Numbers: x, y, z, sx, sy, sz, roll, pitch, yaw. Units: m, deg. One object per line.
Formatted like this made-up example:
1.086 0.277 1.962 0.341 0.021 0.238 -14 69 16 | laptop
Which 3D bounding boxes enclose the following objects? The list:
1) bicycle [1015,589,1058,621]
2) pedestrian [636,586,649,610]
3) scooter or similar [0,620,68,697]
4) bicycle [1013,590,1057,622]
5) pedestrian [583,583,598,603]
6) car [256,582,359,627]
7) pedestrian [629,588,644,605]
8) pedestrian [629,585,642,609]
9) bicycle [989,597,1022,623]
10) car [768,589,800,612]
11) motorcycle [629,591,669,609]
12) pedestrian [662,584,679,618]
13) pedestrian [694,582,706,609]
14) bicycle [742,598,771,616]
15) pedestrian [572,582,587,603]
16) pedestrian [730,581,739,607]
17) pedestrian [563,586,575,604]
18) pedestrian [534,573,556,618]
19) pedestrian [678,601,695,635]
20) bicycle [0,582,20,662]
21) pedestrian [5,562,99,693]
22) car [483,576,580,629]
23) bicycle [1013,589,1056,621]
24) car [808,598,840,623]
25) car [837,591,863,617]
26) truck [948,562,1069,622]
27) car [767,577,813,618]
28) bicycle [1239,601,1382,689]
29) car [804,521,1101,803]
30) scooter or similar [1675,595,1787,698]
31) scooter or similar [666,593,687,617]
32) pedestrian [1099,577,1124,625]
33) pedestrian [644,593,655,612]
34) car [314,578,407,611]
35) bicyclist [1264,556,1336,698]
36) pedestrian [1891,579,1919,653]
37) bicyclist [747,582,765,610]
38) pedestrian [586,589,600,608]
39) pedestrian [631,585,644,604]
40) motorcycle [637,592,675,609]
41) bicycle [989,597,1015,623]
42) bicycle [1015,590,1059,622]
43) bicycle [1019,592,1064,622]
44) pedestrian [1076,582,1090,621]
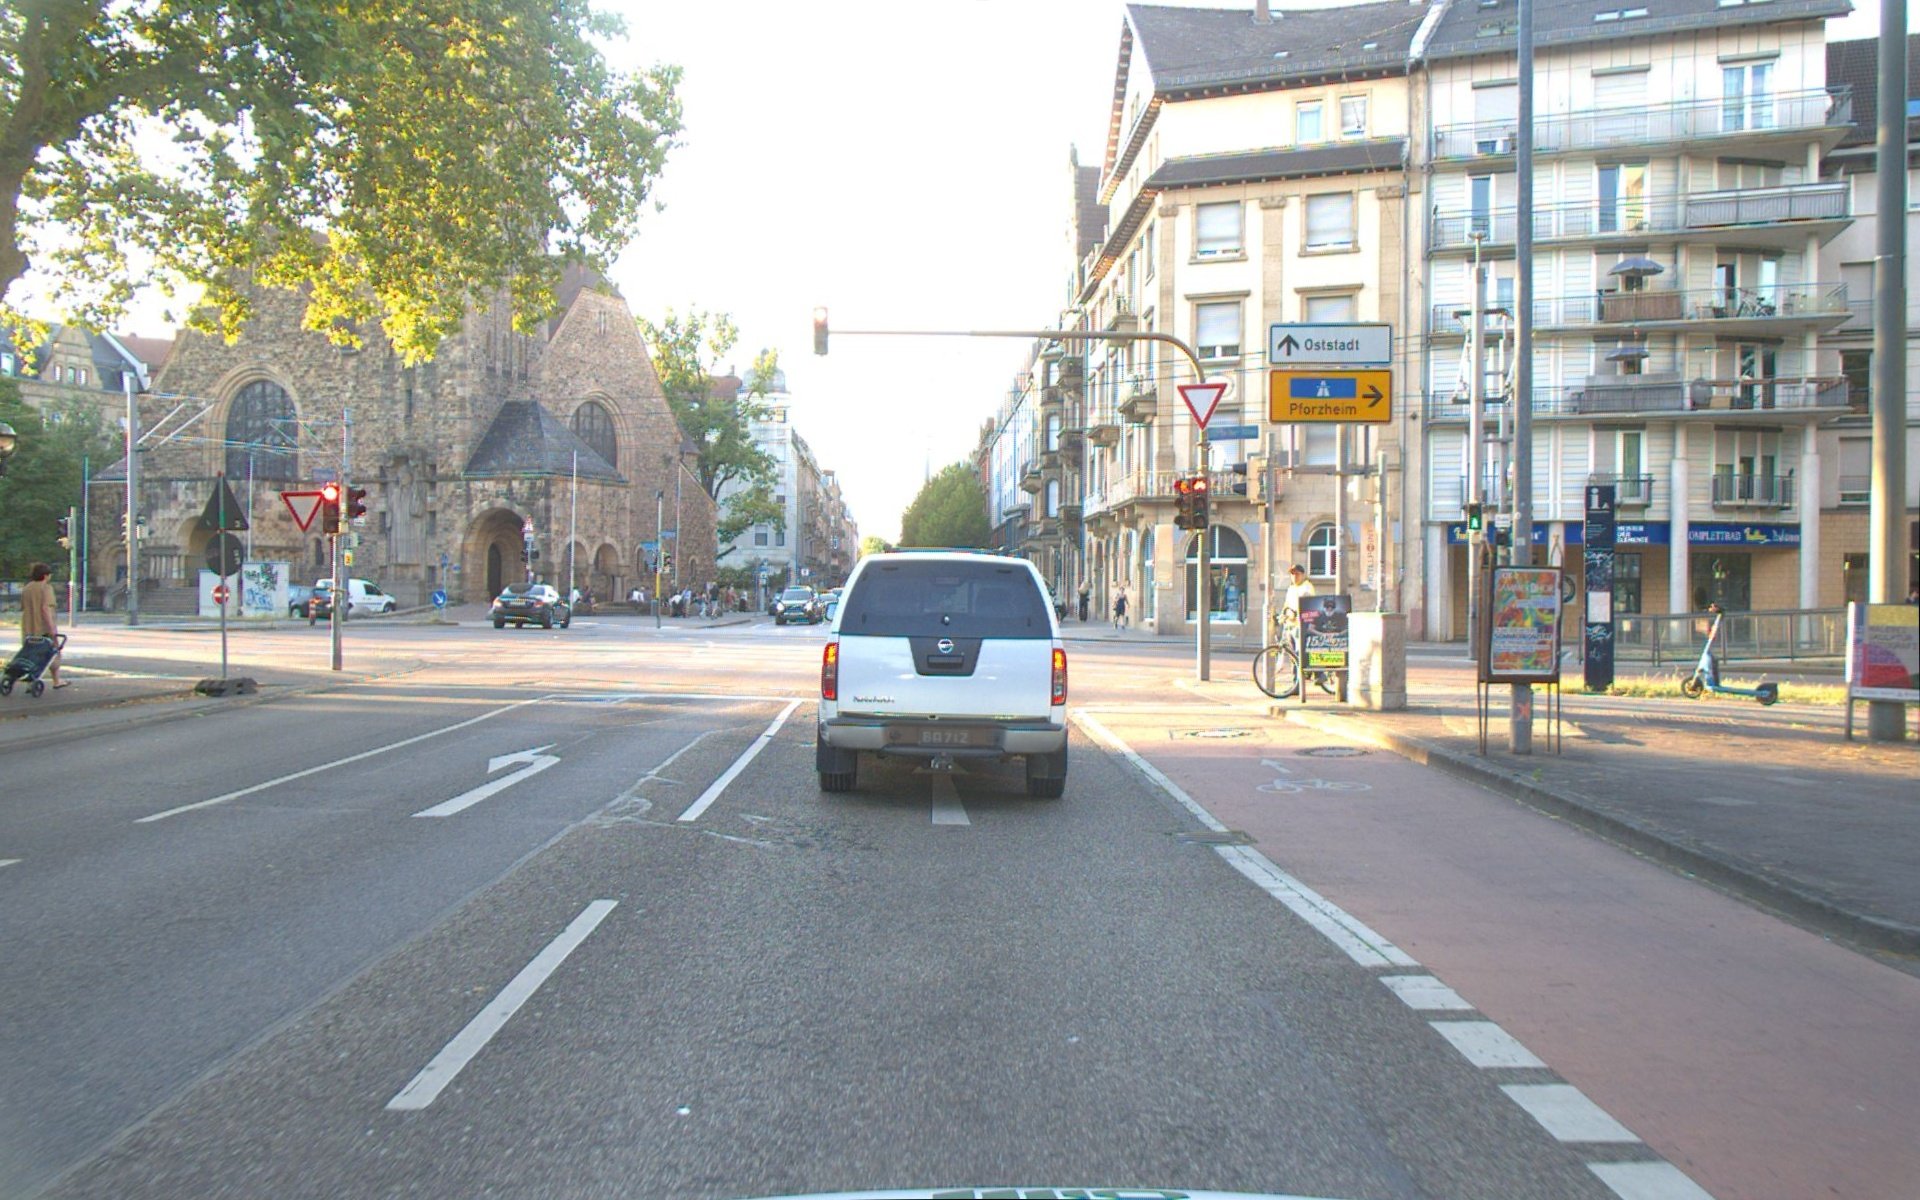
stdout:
3.297 0.216 71.204 1.781 1.259 0.412 -3 0 -3 | bicycle
-16.970 -0.116 88.476 0.468 1.267 0.523 1 -1 16 | pedestrian
-11.603 0.720 20.641 0.580 0.913 0.849 1 0 -11 | scooter or similar
3.208 0.246 70.476 1.781 1.259 0.477 -3 0 -3 | bicycle
-18.082 -0.356 80.987 0.511 0.977 0.479 1 -1 18 | pedestrian
-26.368 0.186 66.820 3.917 1.713 1.994 1 0 33 | car
-18.552 -0.210 94.845 0.540 0.977 0.710 1 0 20 | pedestrian
-17.223 -0.165 87.799 0.468 1.267 0.523 1 -1 16 | pedestrian
1.964 0.418 70.865 1.344 1.042 0.317 -3 0 -3 | bicycle
-11.687 0.039 109.965 1.821 1.422 3.999 1 0 -2 | car
-18.420 0.013 97.980 2.201 1.005 0.707 1 0 -7 | motorcycle
-15.082 0.052 86.201 0.620 1.728 0.603 1 1 15 | pedestrian
-16.672 -0.308 106.136 0.630 1.725 0.561 1 -1 -2 | pedestrian
-12.353 0.422 100.441 1.910 1.062 0.597 1 -1 41 | bicycle
-18.696 -0.369 81.253 0.511 0.977 0.479 1 -1 18 | pedestrian
-15.401 -0.419 113.026 0.549 1.725 0.643 1 -1 -9 | pedestrian
-21.555 -0.292 91.112 0.541 0.977 0.708 1 0 -7 | pedestrian
-18.138 -0.202 72.335 0.796 1.934 0.666 1 -1 -3 | pedestrian
-14.232 0.941 86.111 0.620 1.728 0.603 1 -1 12 | pedestrian
-16.414 0.360 27.309 0.514 1.349 1.995 1 0 4 | bicycle
-11.775 0.349 21.479 0.786 1.656 0.773 1 -1 -6 | pedestrian
-14.052 0.100 54.447 1.952 1.646 4.001 1 0 2 | car
3.217 0.216 71.808 1.781 1.259 0.410 -3 0 -3 | bicycle
-9.611 0.730 116.916 1.954 1.585 4.767 3 0 -2 | car
-8.896 0.342 133.697 1.953 2.049 4.948 0 -1 -2 | car
2.240 -0.327 75.372 5.630 2.610 2.251 1 0 -45 | truck
-8.275 -0.159 80.744 1.954 1.815 4.796 1 2 -3 | car
4.734 0.607 22.258 2.046 1.129 0.621 1 -1 -34 | bicycle
-0.075 0.427 13.091 1.953 1.841 3.999 1 0 -1 | car
9.933 0.587 21.316 1.211 1.271 0.513 1 -1 39 | scooter or similar
-14.588 0.262 85.181 0.620 1.122 1.079 3 4 16 | scooter or similar
5.819 0.035 63.475 0.771 1.810 0.543 1 -1 24 | pedestrian
-16.260 0.137 86.596 0.513 0.977 0.477 1 -1 -17 | pedestrian
-29.190 -0.243 80.689 1.679 1.543 4.454 1 0 23 | car
4.546 0.355 22.128 0.690 1.856 0.621 2 -1 -33 | bicyclist
29.220 0.487 50.873 0.850 2.247 0.821 1 -1 19 | pedestrian
-12.406 -0.237 100.512 0.946 1.673 0.597 1 -1 41 | bicyclist
-18.227 -0.074 82.154 0.469 0.977 0.522 1 -1 29 | pedestrian
-16.920 -0.307 86.713 0.510 0.977 0.479 1 -1 16 | pedestrian
-18.355 0.022 100.008 2.201 1.005 0.707 1 0 -7 | motorcycle
1.786 0.427 70.151 1.055 1.042 0.317 -3 0 -3 | bicycle
3.256 0.239 69.766 1.781 1.259 0.488 -3 0 -3 | bicycle
3.391 0.283 68.828 1.781 1.170 0.636 -3 0 -3 | bicycle
5.466 0.071 73.558 0.517 1.683 0.547 1 -1 -1 | pedestrian
